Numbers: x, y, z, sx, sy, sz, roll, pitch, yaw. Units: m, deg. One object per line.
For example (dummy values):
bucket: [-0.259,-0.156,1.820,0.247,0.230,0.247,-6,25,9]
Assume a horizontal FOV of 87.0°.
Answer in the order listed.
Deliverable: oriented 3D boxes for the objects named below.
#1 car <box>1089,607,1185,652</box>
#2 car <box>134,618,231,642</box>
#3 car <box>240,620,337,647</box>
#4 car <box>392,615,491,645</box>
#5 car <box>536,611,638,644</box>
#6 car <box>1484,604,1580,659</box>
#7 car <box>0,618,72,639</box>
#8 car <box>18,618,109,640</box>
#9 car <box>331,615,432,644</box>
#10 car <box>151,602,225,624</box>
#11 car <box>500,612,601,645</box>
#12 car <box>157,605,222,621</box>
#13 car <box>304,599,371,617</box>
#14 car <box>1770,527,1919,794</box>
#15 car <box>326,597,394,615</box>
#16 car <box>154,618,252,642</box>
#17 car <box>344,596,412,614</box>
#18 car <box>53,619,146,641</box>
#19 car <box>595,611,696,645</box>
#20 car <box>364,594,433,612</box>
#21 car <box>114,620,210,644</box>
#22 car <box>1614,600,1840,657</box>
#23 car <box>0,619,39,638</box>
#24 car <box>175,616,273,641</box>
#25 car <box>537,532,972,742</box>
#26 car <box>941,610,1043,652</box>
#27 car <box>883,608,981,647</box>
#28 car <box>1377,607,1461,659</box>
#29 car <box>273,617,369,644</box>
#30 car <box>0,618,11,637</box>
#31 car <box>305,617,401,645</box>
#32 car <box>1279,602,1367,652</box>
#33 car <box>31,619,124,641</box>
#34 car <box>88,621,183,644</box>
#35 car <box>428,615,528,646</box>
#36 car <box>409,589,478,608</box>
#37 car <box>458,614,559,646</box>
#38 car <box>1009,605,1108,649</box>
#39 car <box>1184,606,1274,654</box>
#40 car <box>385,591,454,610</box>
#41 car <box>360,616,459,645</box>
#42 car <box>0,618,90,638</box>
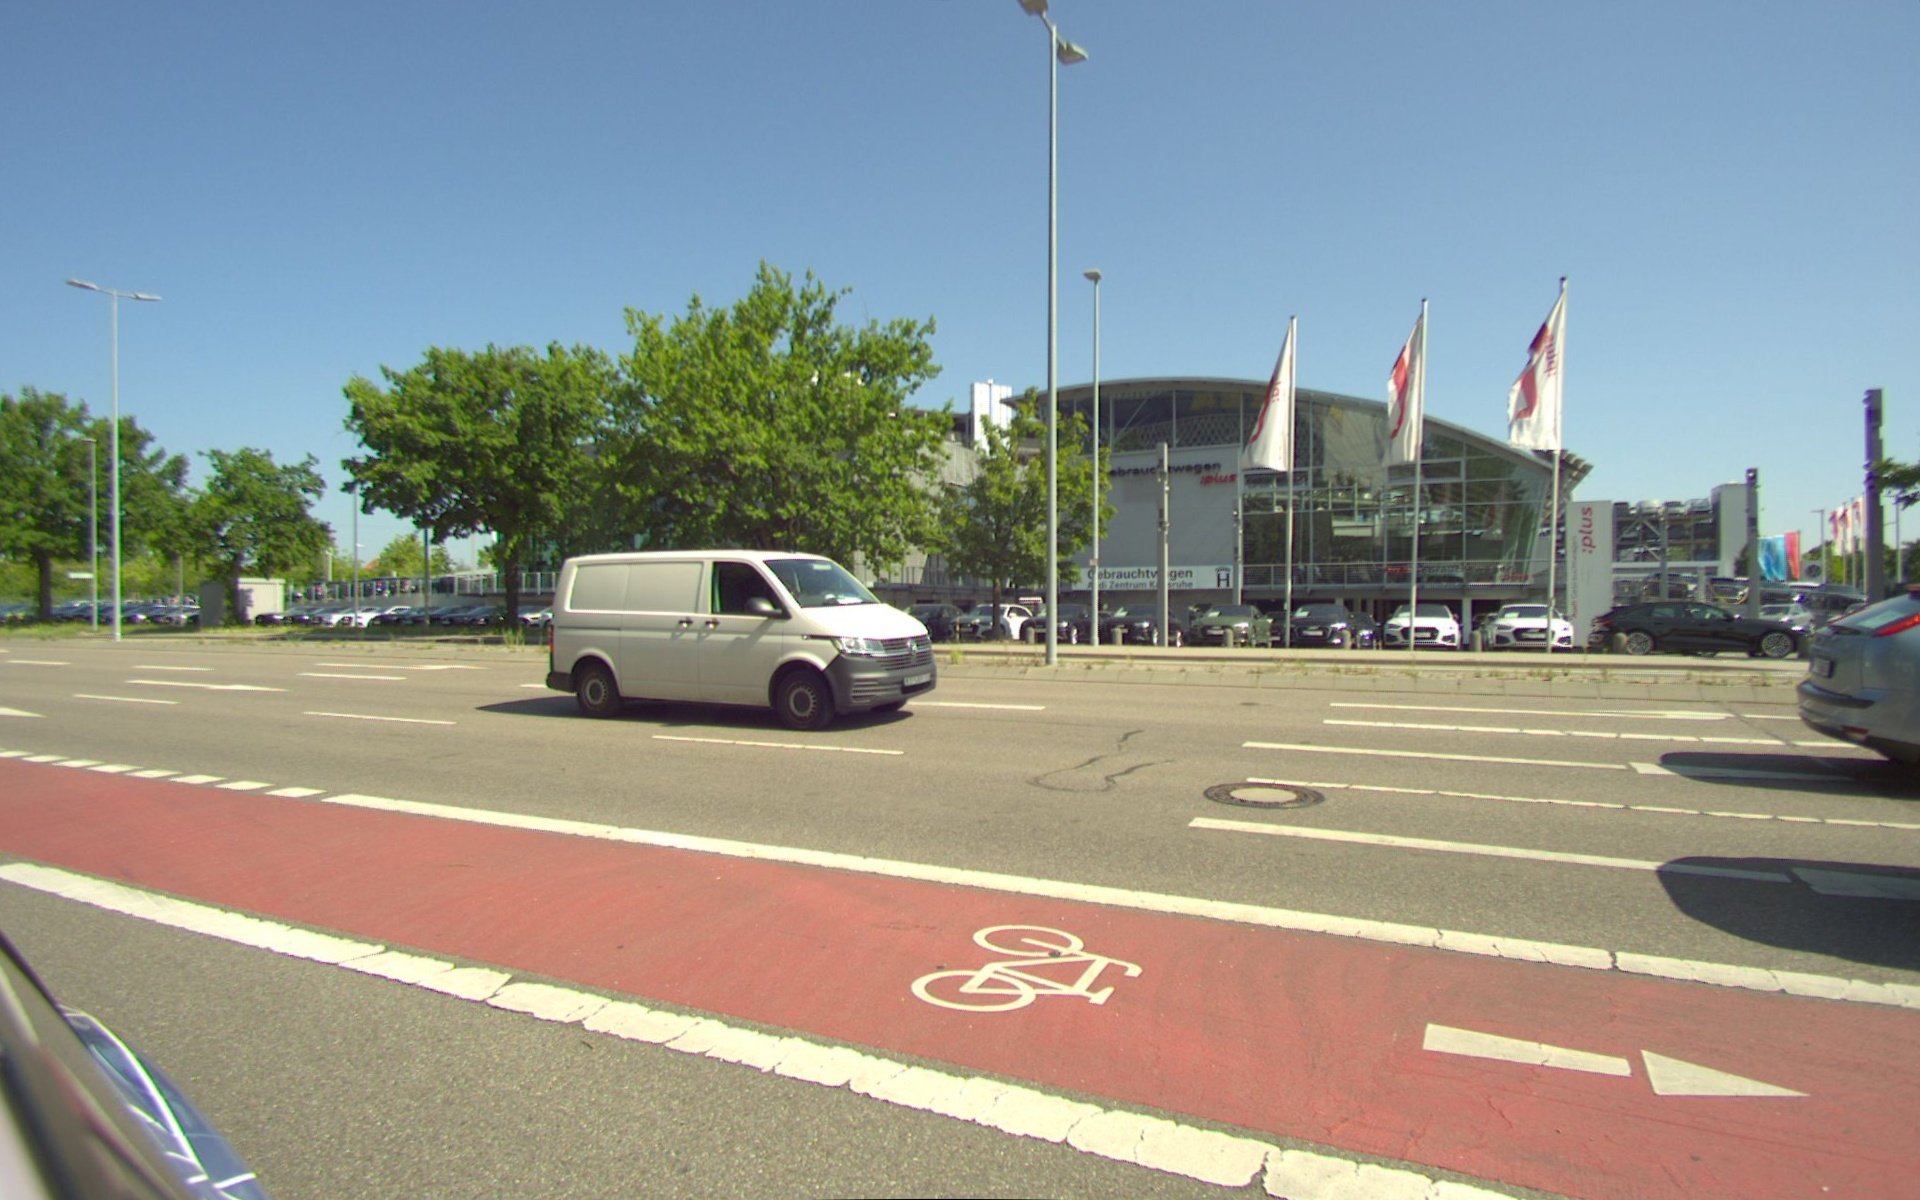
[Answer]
car: [5.726,0.912,32.293,1.990,1.353,3.964,-1,-1,26]
car: [-46.839,1.778,61.053,1.946,1.361,4.237,-1,-1,30]
car: [-36.468,1.802,55.079,1.990,1.386,3.962,-1,-1,28]
car: [-25.107,1.430,49.125,1.915,1.386,3.962,-1,-1,27]
car: [-16.335,1.195,44.515,1.915,1.386,3.962,-1,-1,27]
car: [15.262,0.821,27.201,1.990,1.353,3.964,-1,-1,26]
car: [-65.172,1.966,70.767,1.946,1.361,4.237,-1,-1,30]
car: [-60.751,1.953,68.619,1.946,1.361,4.237,-1,-1,30]
car: [-29.422,1.474,51.591,2.015,1.386,4.017,-1,-1,28]
car: [-61.020,1.042,80.045,1.946,1.655,4.237,-1,-1,30]
car: [-18.325,1.258,45.461,1.915,1.386,3.962,-1,-1,27]
car: [-68.516,1.174,90.078,1.945,1.361,4.239,-1,-1,28]
car: [-49.834,0.634,81.121,1.945,1.361,4.239,-1,-1,28]
car: [8.004,0.370,6.525,3.982,1.697,1.981,-1,-1,28]
car: [-47.422,0.522,80.035,1.945,1.361,4.239,-1,-1,28]
car: [-44.626,1.743,59.749,1.946,1.361,4.237,-1,-1,30]
car: [-45.225,0.379,78.705,1.945,1.361,4.239,-1,-1,28]
car: [-56.250,1.968,66.204,1.946,1.361,4.237,-1,-1,30]
car: [-13.409,1.184,43.385,1.915,1.386,3.962,-1,-1,27]
car: [-43.027,0.239,77.647,1.945,1.361,4.239,-1,-1,28]
car: [-48.963,1.952,62.140,1.946,1.361,4.237,-1,-1,30]
car: [19.455,0.734,25.956,4.424,1.353,1.691,-1,-1,31]
car: [-69.835,2.093,73.302,1.946,1.361,4.237,-1,-1,30]
car: [-42.632,1.638,58.707,1.946,1.361,4.237,-1,-1,30]
car: [-2.480,0.414,11.748,4.953,2.009,1.869,-1,-1,30]
car: [1.159,1.026,34.649,1.990,1.353,4.126,-1,-1,26]
car: [-0.955,0.985,36.827,1.990,1.321,3.964,-1,-1,26]
car: [12.919,0.893,28.394,1.990,1.353,3.964,-1,-1,26]
car: [-34.041,1.609,53.989,1.856,1.386,3.962,-1,-1,27]
car: [-72.236,2.044,73.650,1.946,1.392,4.237,-1,-1,30]
car: [-31.637,1.580,52.873,1.856,1.386,3.962,-1,-1,27]
car: [10.654,0.769,29.562,1.990,1.353,3.964,-1,-1,26]
car: [-58.462,1.977,67.122,1.946,1.361,4.237,-1,-1,30]
car: [-51.577,2.019,63.410,1.946,1.361,4.237,-1,-1,30]
car: [-22.689,1.408,47.759,1.915,1.386,3.962,-1,-1,27]
car: [-38.215,-0.080,74.971,1.945,1.361,4.239,-1,-1,28]
car: [-20.705,1.363,46.565,1.915,1.386,3.962,-1,-1,27]
car: [3.332,0.872,33.553,1.990,1.353,3.964,-1,-1,26]
car: [8.280,0.890,30.944,1.989,1.353,3.966,-1,-1,25]
car: [-40.700,0.079,76.276,1.945,1.361,4.239,-1,-1,28]
car: [-27.368,1.496,50.451,1.915,1.386,3.962,-1,-1,27]
car: [-62.993,1.912,69.761,1.946,1.361,4.237,-1,-1,30]
